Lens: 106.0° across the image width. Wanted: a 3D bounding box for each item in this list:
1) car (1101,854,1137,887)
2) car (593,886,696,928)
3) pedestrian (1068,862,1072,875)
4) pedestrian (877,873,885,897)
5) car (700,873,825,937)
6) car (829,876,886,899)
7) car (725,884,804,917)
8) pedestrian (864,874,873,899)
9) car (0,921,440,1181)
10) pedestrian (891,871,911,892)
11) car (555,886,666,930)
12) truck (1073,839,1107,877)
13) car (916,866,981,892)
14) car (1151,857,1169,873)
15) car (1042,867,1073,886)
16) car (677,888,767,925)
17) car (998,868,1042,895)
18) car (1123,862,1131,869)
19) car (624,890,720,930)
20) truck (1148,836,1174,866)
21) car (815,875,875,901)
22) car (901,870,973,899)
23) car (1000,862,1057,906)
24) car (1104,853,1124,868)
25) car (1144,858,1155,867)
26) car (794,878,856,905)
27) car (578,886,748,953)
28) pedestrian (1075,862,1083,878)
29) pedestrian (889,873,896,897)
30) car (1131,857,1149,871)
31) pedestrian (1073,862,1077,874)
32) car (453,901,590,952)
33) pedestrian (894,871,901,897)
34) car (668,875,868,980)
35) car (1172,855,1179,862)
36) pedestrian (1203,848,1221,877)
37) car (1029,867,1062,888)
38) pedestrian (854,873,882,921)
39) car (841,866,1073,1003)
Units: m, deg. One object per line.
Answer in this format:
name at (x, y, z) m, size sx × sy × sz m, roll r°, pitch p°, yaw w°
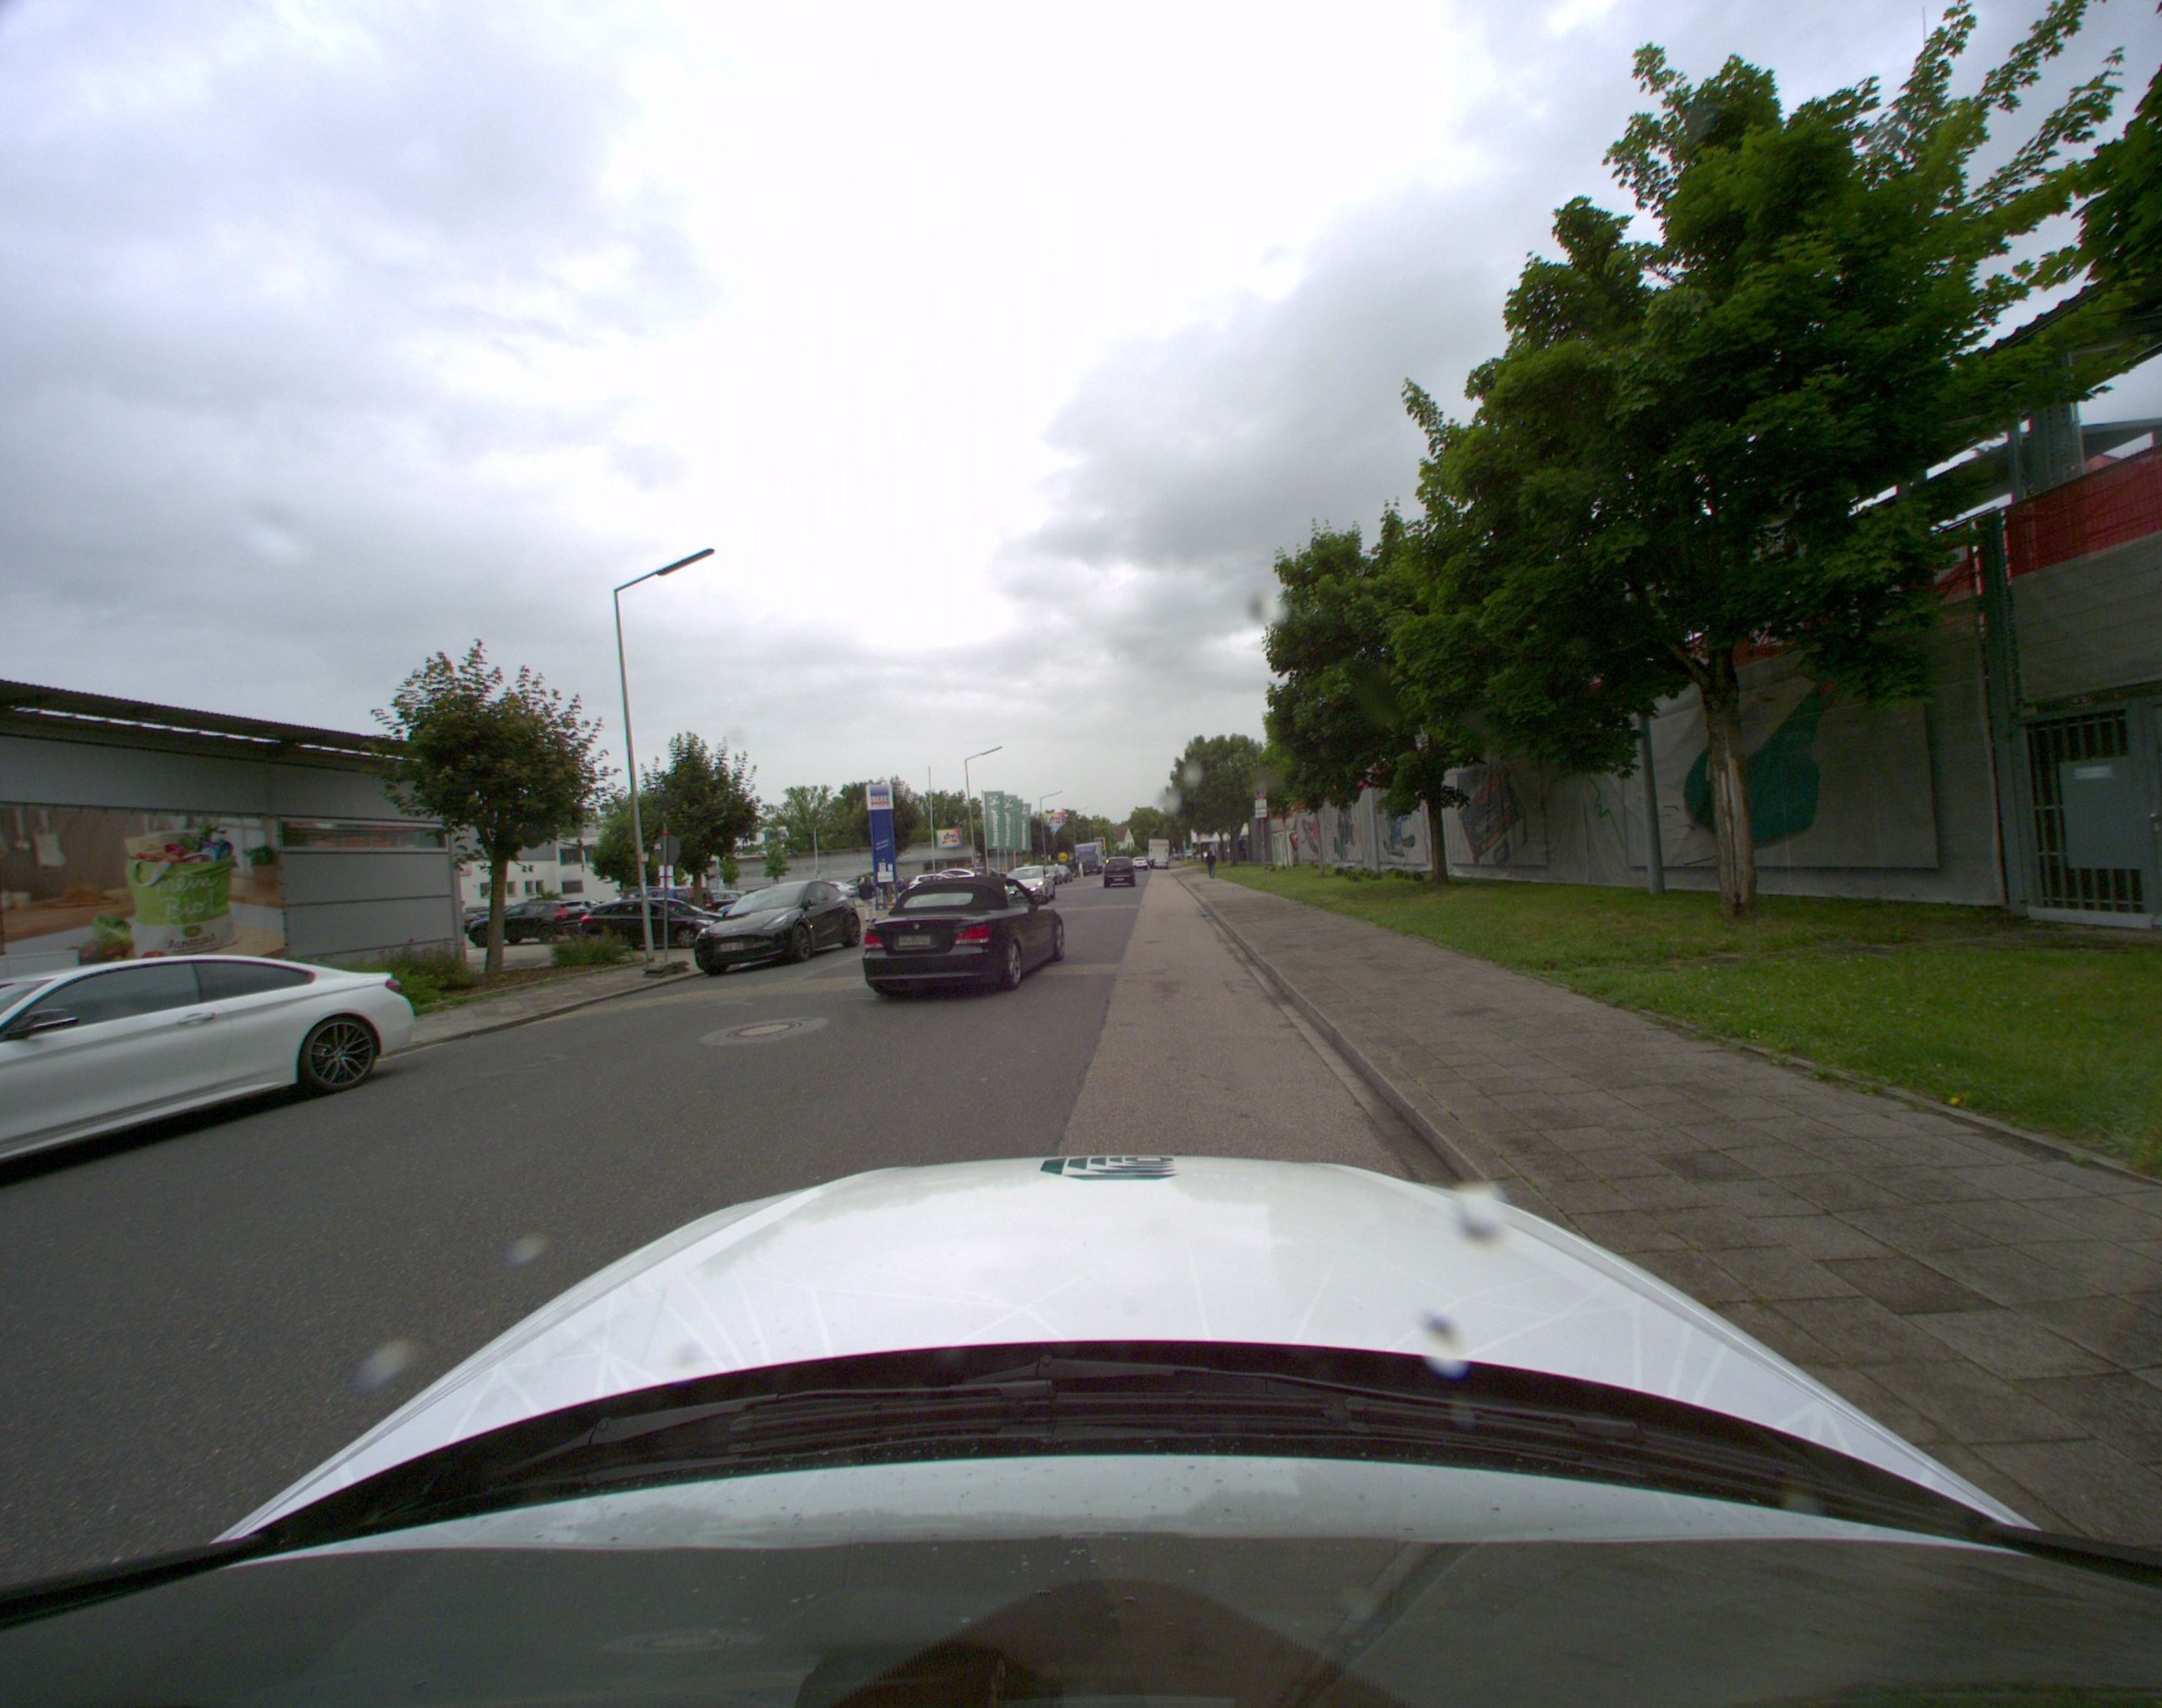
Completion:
car at (2.103, 0.872, 44.686) m, size 1.673 × 1.632 × 3.764 m, roll -4°, pitch -1°, yaw 5°
car at (-21.504, 2.609, 40.235) m, size 3.968 × 1.669 × 1.879 m, roll -5°, pitch -1°, yaw 5°
pedestrian at (-1.300, 1.727, 99.210) m, size 0.400 × 1.531 × 0.485 m, roll -4°, pitch -1°, yaw -1°
pedestrian at (-13.310, 2.038, 54.266) m, size 0.358 × 1.570 × 0.503 m, roll -4°, pitch -1°, yaw -5°
car at (-12.018, 1.887, 30.907) m, size 3.919 × 2.013 × 1.760 m, roll -5°, pitch -1°, yaw -2°
car at (-18.245, 2.740, 66.498) m, size 3.967 × 1.492 × 1.789 m, roll -4°, pitch -1°, yaw 6°
car at (-19.413, 2.850, 49.993) m, size 3.968 × 1.669 × 1.879 m, roll -5°, pitch -1°, yaw 5°
pedestrian at (-14.191, 2.179, 54.288) m, size 0.455 × 1.642 × 0.373 m, roll -4°, pitch -1°, yaw -12°
car at (-7.496, 1.471, 5.903) m, size 1.691 × 1.367 × 4.524 m, roll -9°, pitch -1°, yaw 5°
pedestrian at (-17.903, 2.724, 81.053) m, size 1.394 × 2.013 × 1.198 m, roll -4°, pitch -1°, yaw -35°
car at (-21.787, 2.489, 37.795) m, size 3.968 × 1.669 × 1.879 m, roll -5°, pitch -1°, yaw 5°
truck at (1.139, 0.426, 94.659) m, size 2.959 × 3.955 × 6.415 m, roll -6°, pitch -1°, yaw 6°
car at (-9.217, 1.726, 56.913) m, size 4.122 × 1.463 × 1.898 m, roll -4°, pitch -1°, yaw 0°
car at (9.582, 1.321, 99.197) m, size 1.984 × 1.806 × 4.004 m, roll -3°, pitch -1°, yaw 4°
car at (-1.905, 1.818, 67.139) m, size 1.889 × 1.367 × 4.006 m, roll -4°, pitch -1°, yaw 5°
car at (-19.695, 2.873, 44.769) m, size 3.968 × 1.669 × 1.879 m, roll -5°, pitch -1°, yaw 5°
car at (-3.634, 1.613, 49.357) m, size 1.889 × 1.367 × 4.006 m, roll -4°, pitch -1°, yaw 5°
car at (10.042, 2.438, 176.997) m, size 1.534 × 1.365 × 3.433 m, roll -3°, pitch -1°, yaw 6°
car at (-21.370, 2.917, 42.661) m, size 3.968 × 1.669 × 1.879 m, roll -5°, pitch -1°, yaw 5°
truck at (10.574, -0.287, 108.381) m, size 3.121 × 3.585 × 10.061 m, roll -3°, pitch -1°, yaw 4°
car at (-18.493, 2.664, 63.904) m, size 3.968 × 1.669 × 1.879 m, roll -5°, pitch -1°, yaw 5°
car at (-9.131, 1.916, 51.966) m, size 4.193 × 1.463 × 1.951 m, roll -4°, pitch -1°, yaw -3°
car at (-2.079, 1.161, 33.024) m, size 1.591 × 1.528 × 3.534 m, roll -6°, pitch -1°, yaw 6°
car at (3.795, 0.757, 92.951) m, size 1.984 × 1.684 × 4.004 m, roll -3°, pitch -1°, yaw 4°
car at (13.017, 1.630, 155.106) m, size 1.877 × 1.532 × 4.261 m, roll -2°, pitch 0°, yaw 6°
car at (-19.368, 2.791, 61.661) m, size 3.968 × 1.669 × 1.879 m, roll -5°, pitch -1°, yaw 5°
car at (-12.022, 1.870, 23.553) m, size 3.854 × 1.620 × 1.931 m, roll -3°, pitch -1°, yaw 5°
pedestrian at (-0.190, 1.641, 83.685) m, size 0.628 × 1.636 × 0.669 m, roll -5°, pitch -1°, yaw 4°
pedestrian at (-12.606, 2.045, 54.421) m, size 0.329 × 1.570 × 0.503 m, roll -3°, pitch -1°, yaw -6°
car at (6.791, 1.116, 92.946) m, size 1.877 × 1.532 × 4.261 m, roll -2°, pitch 0°, yaw 6°
pedestrian at (-0.778, 1.829, 108.991) m, size 0.400 × 1.531 × 0.485 m, roll -4°, pitch -1°, yaw -1°
car at (-21.510, 2.745, 31.525) m, size 4.006 × 1.485 × 1.861 m, roll -4°, pitch -1°, yaw -24°
pedestrian at (-12.193, 1.997, 54.062) m, size 0.262 × 1.730 × 0.421 m, roll -4°, pitch -1°, yaw -7°
car at (-6.127, 1.365, 16.633) m, size 1.938 × 1.526 × 4.407 m, roll -8°, pitch -1°, yaw 4°
car at (24.189, 1.060, 208.696) m, size 1.877 × 1.683 × 4.261 m, roll -2°, pitch 0°, yaw 6°
pedestrian at (7.680, 0.516, 47.867) m, size 0.914 × 1.635 × 0.854 m, roll -3°, pitch -1°, yaw 7°
car at (-2.622, 1.745, 61.269) m, size 1.889 × 1.367 × 4.006 m, roll -4°, pitch -1°, yaw 5°
pedestrian at (-7.994, 1.600, 30.590) m, size 0.772 × 1.715 × 0.697 m, roll -4°, pitch -1°, yaw 1°
car at (-1.392, 0.919, 10.918) m, size 1.735 × 1.358 × 4.149 m, roll -4°, pitch -1°, yaw 10°
